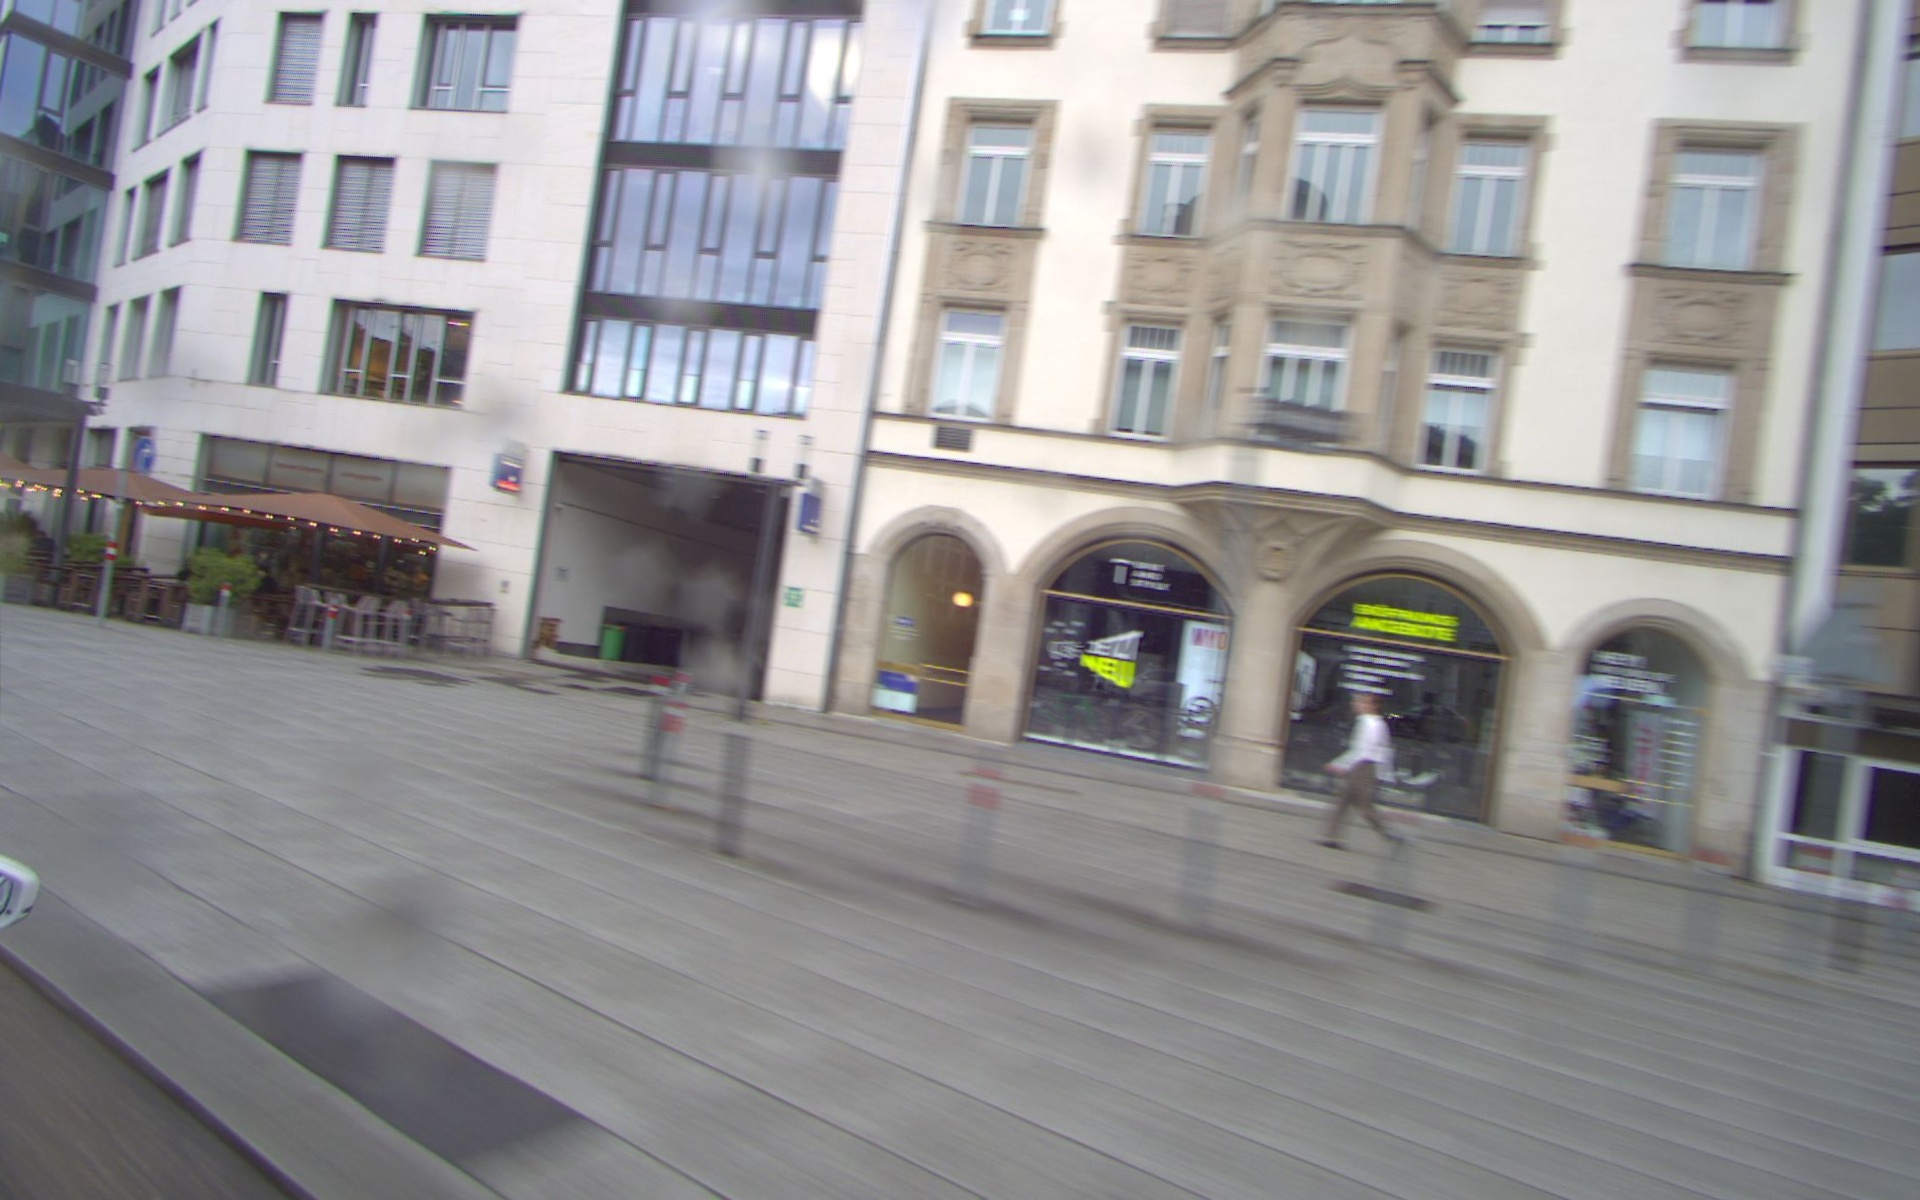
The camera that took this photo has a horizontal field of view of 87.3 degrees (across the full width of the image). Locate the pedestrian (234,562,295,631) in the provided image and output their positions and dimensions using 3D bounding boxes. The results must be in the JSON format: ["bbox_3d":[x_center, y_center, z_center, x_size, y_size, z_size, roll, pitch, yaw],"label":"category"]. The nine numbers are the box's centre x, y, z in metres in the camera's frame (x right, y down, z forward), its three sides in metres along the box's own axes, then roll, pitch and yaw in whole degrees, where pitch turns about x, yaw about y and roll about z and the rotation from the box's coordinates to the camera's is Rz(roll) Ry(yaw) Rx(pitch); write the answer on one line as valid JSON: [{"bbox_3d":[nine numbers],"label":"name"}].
[{"bbox_3d":[-14.950,-0.076,21.641,0.624,1.340,0.630,8,-4,14],"label":"pedestrian"}]

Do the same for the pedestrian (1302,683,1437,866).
[{"bbox_3d":[4.794,2.006,11.777,1.227,1.856,0.875,6,-4,25],"label":"pedestrian"}]

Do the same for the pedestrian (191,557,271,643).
[{"bbox_3d":[-12.658,0.005,17.472,0.625,1.340,0.776,6,-4,34],"label":"pedestrian"}]

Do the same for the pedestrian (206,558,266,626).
[{"bbox_3d":[-15.755,-0.168,21.901,0.624,1.340,0.630,8,-4,14],"label":"pedestrian"}]

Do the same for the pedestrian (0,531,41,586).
[{"bbox_3d":[-25.453,-1.122,27.031,0.626,1.340,0.819,6,-4,34],"label":"pedestrian"}]

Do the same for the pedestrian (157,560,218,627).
[{"bbox_3d":[-17.102,-0.147,22.281,0.624,1.340,0.630,8,-4,14],"label":"pedestrian"}]

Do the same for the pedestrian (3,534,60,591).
[{"bbox_3d":[-24.618,-0.985,26.683,0.626,1.340,0.819,6,-4,34],"label":"pedestrian"}]
